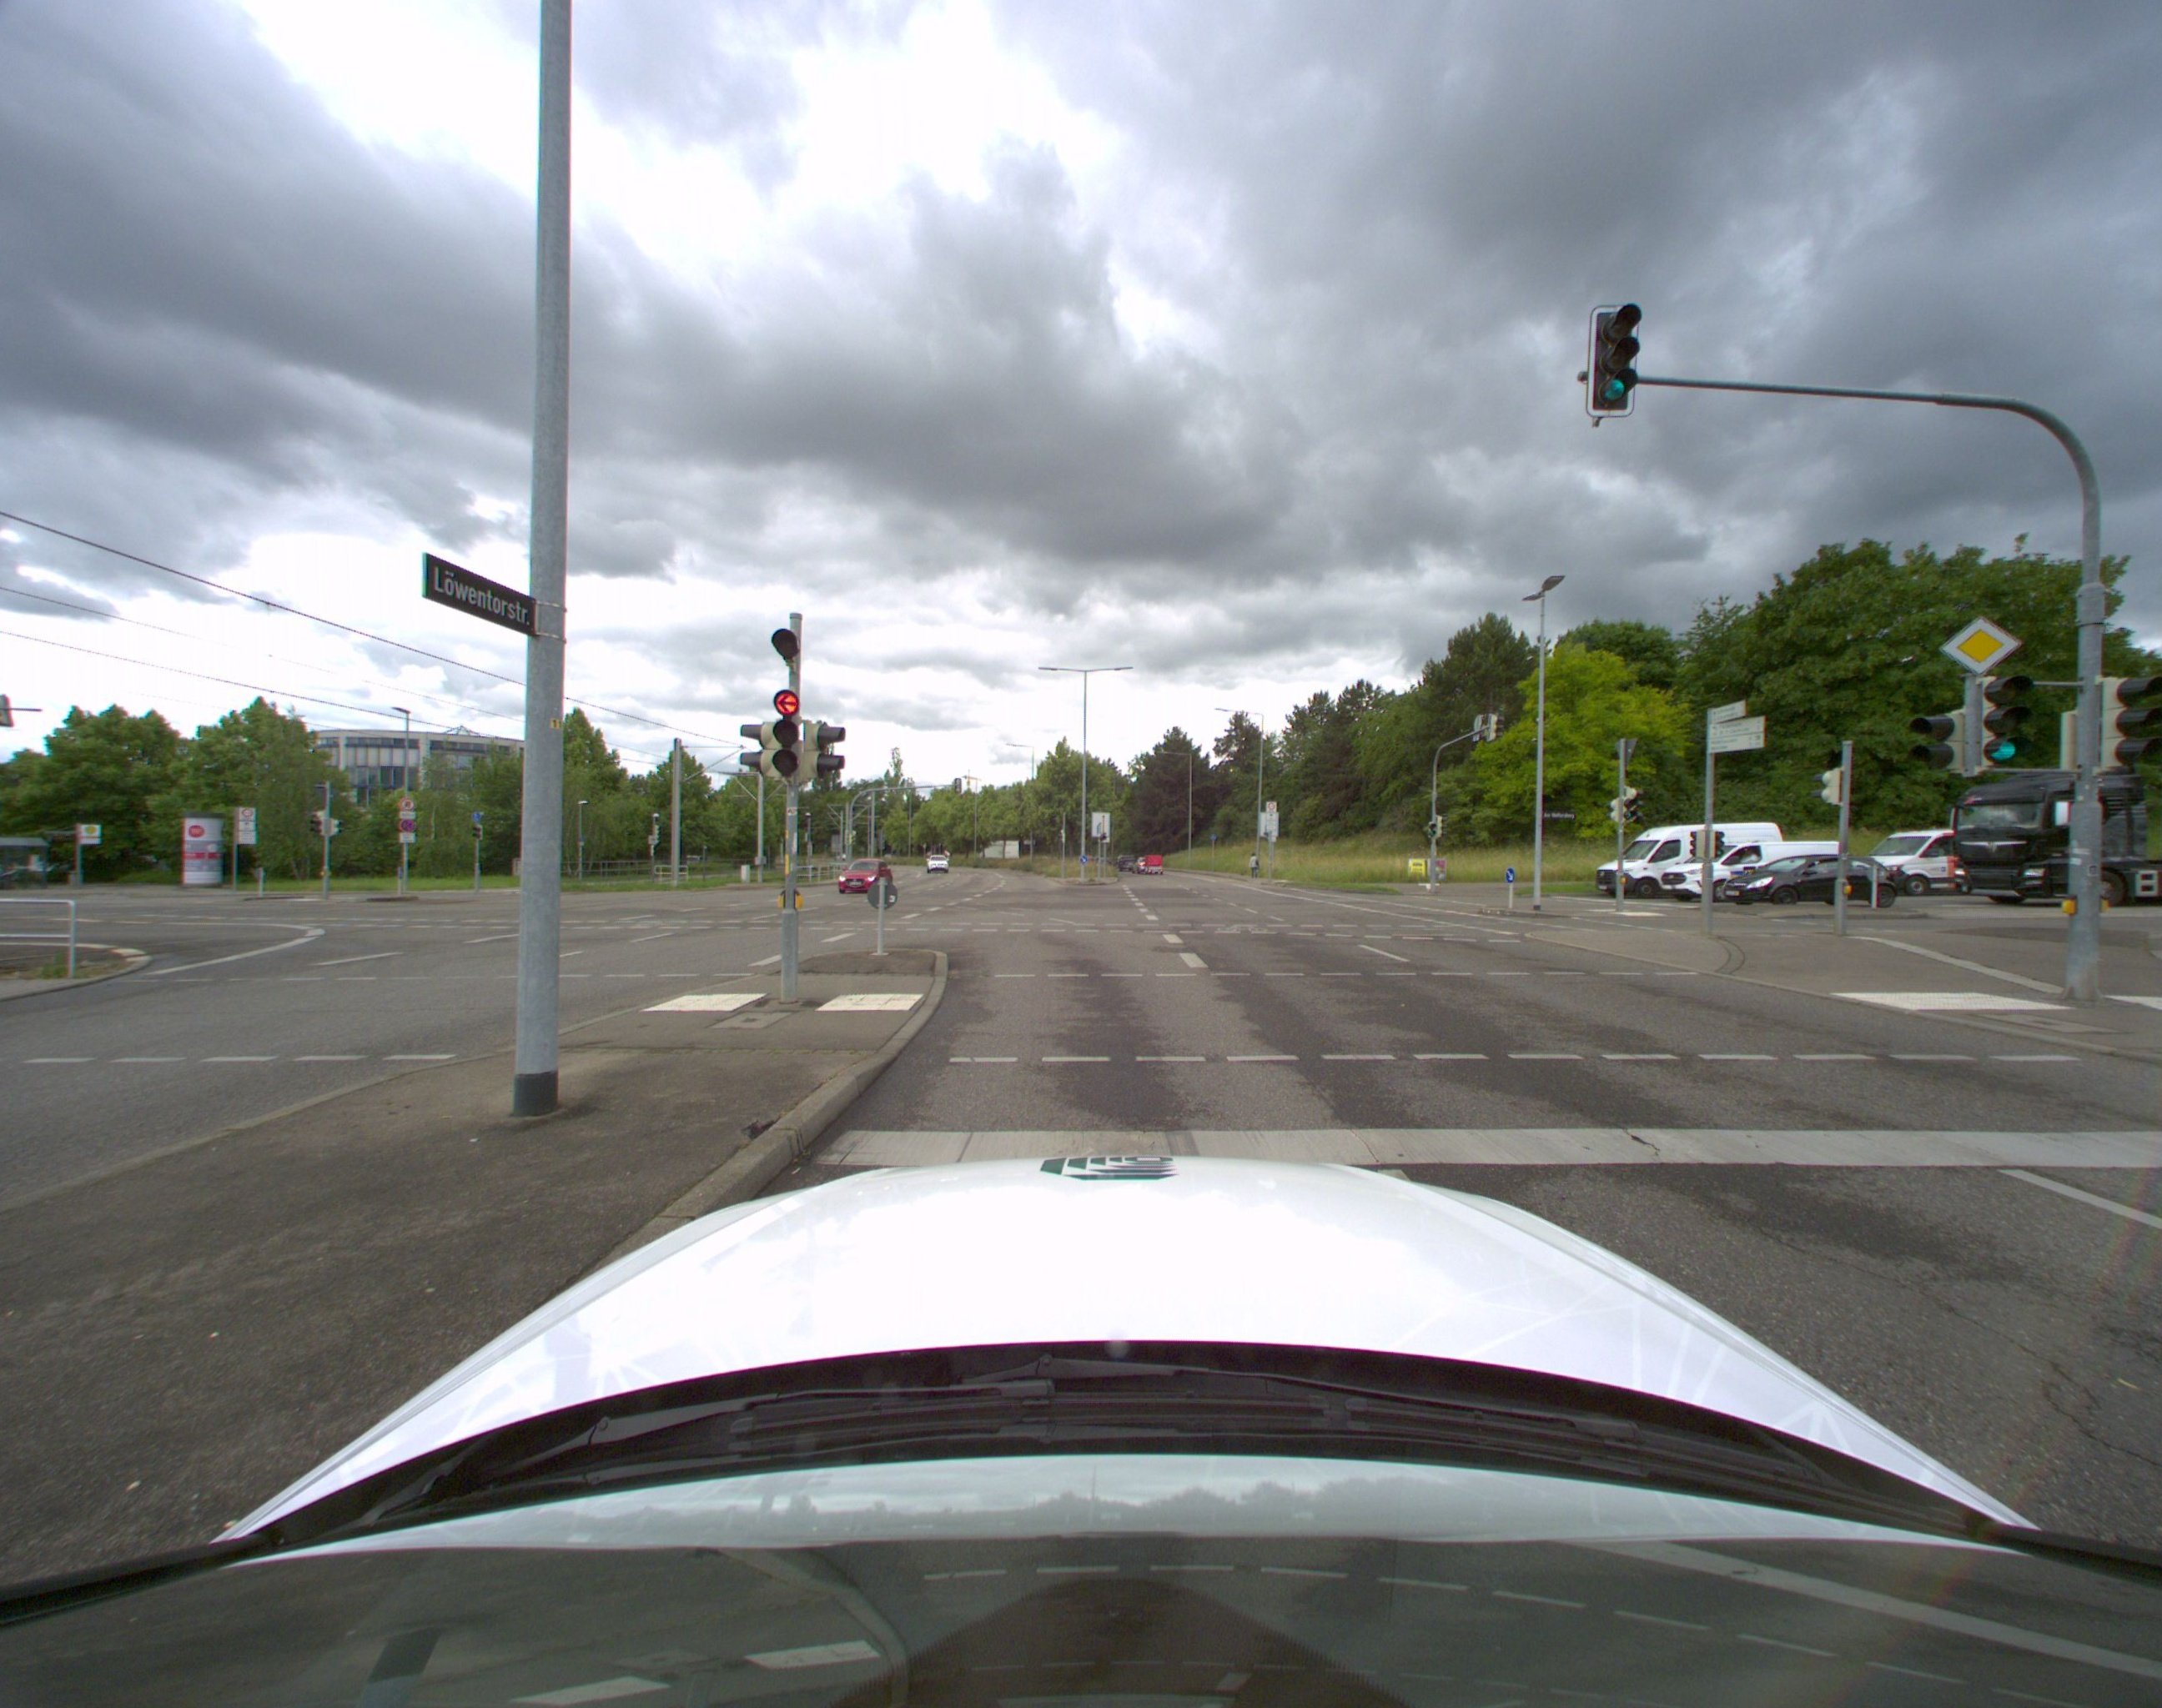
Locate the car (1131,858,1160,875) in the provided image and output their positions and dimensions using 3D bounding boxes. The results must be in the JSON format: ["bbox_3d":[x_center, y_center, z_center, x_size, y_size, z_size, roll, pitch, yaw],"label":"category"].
[{"bbox_3d":[5.688,1.051,72.236,1.776,1.421,4.449,0,0,-6],"label":"car"}]

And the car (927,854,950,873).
[{"bbox_3d":[-12.659,0.815,72.447,1.827,1.629,4.414,-1,0,-7],"label":"car"}]

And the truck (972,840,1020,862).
[{"bbox_3d":[-13.405,-0.478,127.730,2.758,3.328,11.291,-1,0,-32],"label":"truck"}]

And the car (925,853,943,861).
[{"bbox_3d":[-30.894,0.576,170.959,1.762,1.546,4.048,0,0,25],"label":"car"}]

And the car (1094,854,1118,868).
[{"bbox_3d":[2.801,0.809,92.229,1.779,1.546,4.008,-1,0,-12],"label":"car"}]

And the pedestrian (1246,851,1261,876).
[{"bbox_3d":[11.329,0.634,53.389,0.811,1.627,0.791,0,0,1],"label":"pedestrian"}]

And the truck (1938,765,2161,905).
[{"bbox_3d":[27.935,-0.518,22.274,6.027,3.538,2.729,-1,0,2],"label":"truck"}]

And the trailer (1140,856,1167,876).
[{"bbox_3d":[6.071,0.954,68.521,1.762,1.616,3.037,0,0,-6],"label":"trailer"}]

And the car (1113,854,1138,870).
[{"bbox_3d":[4.480,0.822,82.902,1.777,1.546,4.013,-1,0,-9],"label":"car"}]

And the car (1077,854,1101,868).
[{"bbox_3d":[0.971,0.824,99.224,1.783,1.546,4.000,-2,2,-18],"label":"car"}]

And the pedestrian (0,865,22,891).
[{"bbox_3d":[-56.432,1.251,42.817,0.774,1.304,0.666,0,0,15],"label":"pedestrian"}]

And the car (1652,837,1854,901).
[{"bbox_3d":[21.593,0.455,26.334,4.836,1.896,2.034,-1,0,1],"label":"car"}]

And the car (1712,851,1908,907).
[{"bbox_3d":[20.281,0.667,22.777,3.905,1.436,1.732,-1,0,1],"label":"car"}]

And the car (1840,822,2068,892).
[{"bbox_3d":[30.684,0.107,28.768,5.677,2.289,2.136,-1,0,2],"label":"car"}]

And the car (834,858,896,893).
[{"bbox_3d":[-9.602,0.922,36.519,1.777,1.443,4.420,-1,0,-3],"label":"car"}]

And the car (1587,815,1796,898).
[{"bbox_3d":[21.899,0.093,29.414,5.870,2.781,2.136,-1,0,2],"label":"car"}]

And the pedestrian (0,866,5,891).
[{"bbox_3d":[-57.774,1.299,43.150,0.774,1.303,0.666,0,0,15],"label":"pedestrian"}]
